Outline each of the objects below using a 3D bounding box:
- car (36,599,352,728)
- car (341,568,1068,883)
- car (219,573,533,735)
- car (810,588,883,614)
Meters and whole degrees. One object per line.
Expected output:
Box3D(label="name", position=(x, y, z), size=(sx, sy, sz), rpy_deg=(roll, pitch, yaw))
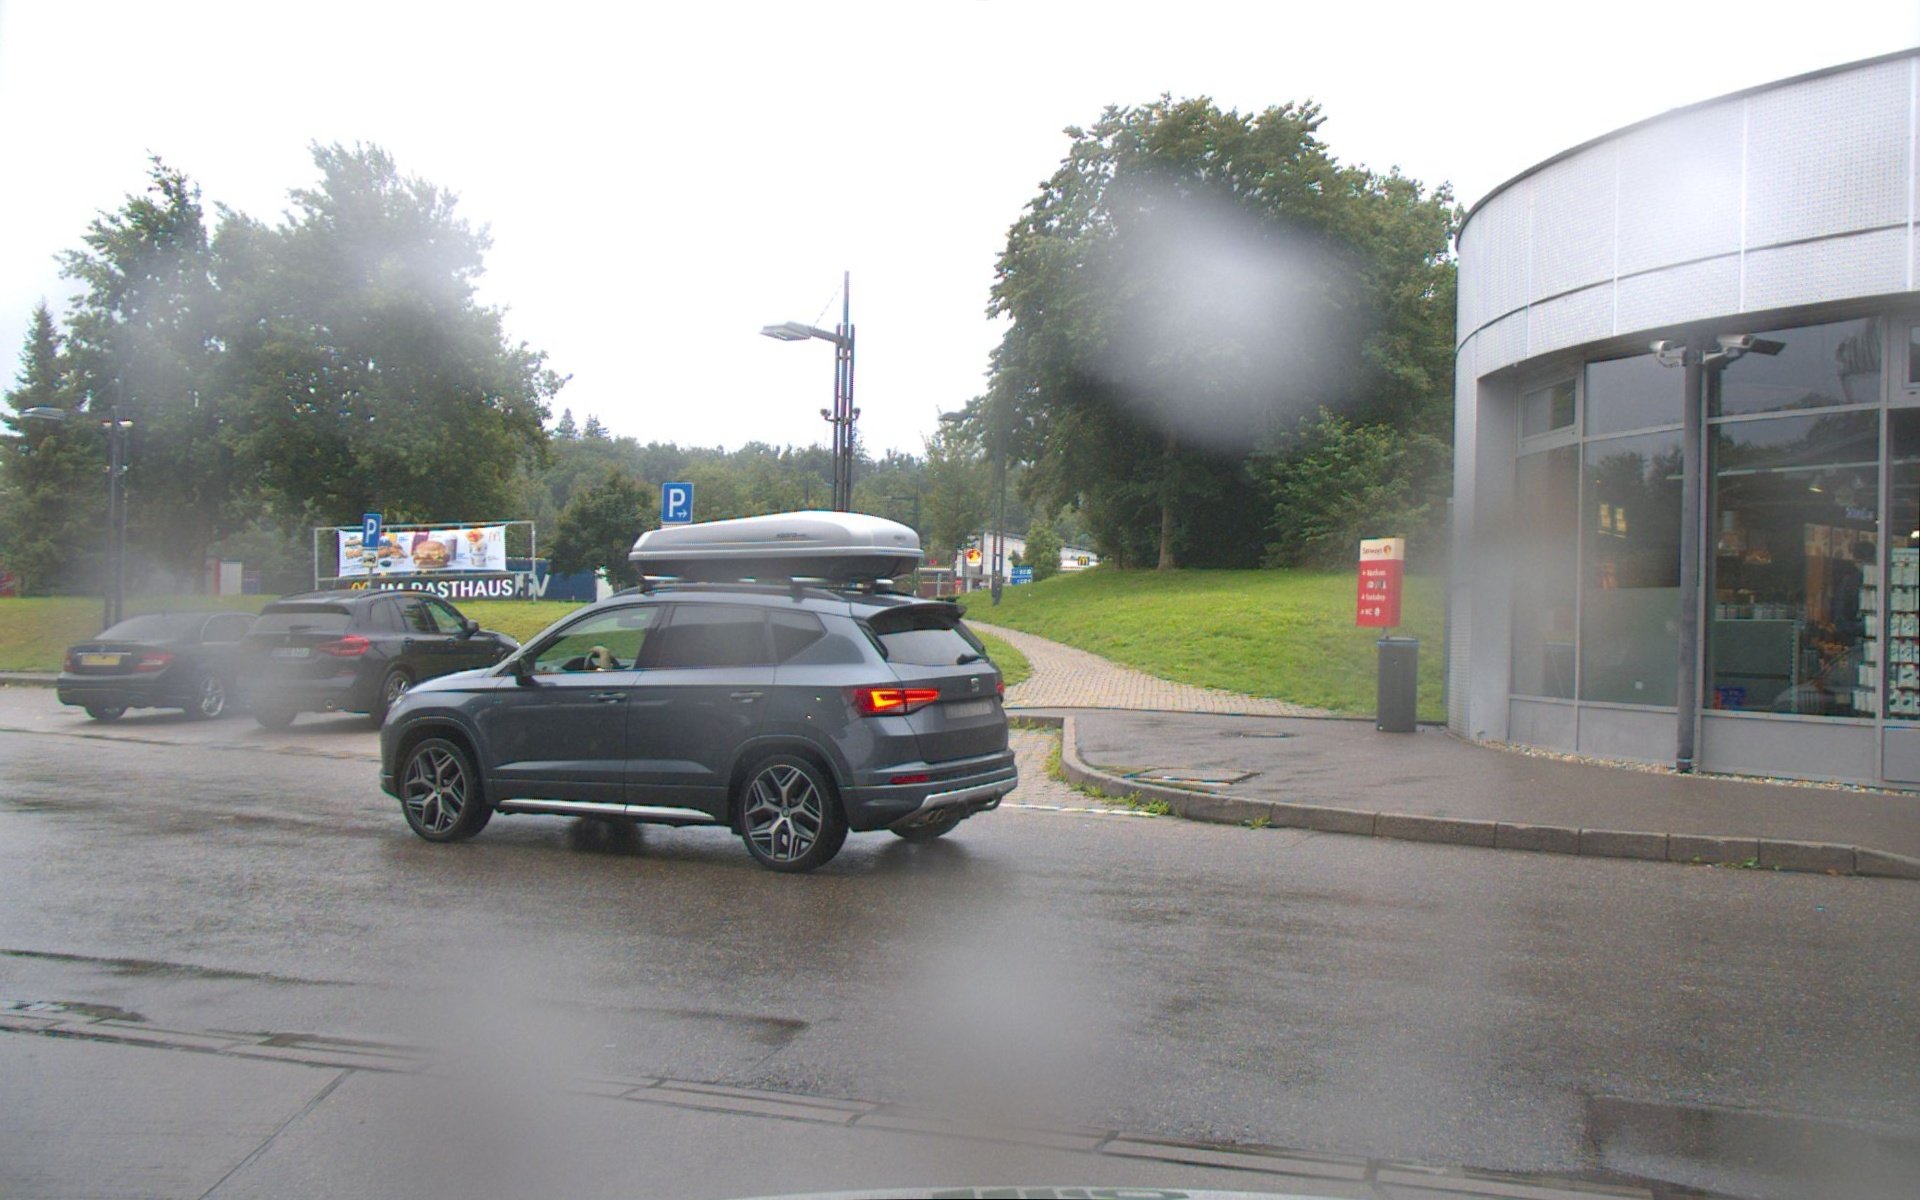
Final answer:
Box3D(label="car", position=(-10.361, 0.788, 22.755), size=(1.844, 1.592, 4.189), rpy_deg=(0, 0, 11))
Box3D(label="car", position=(-1.634, 0.635, 10.446), size=(4.228, 1.615, 1.888), rpy_deg=(1, 1, 26))
Box3D(label="car", position=(-7.336, 0.615, 21.316), size=(1.844, 1.860, 4.417), rpy_deg=(0, 0, 11))
Box3D(label="car", position=(-9.158, 0.072, 133.625), size=(5.310, 2.049, 2.456), rpy_deg=(1, 0, 19))
